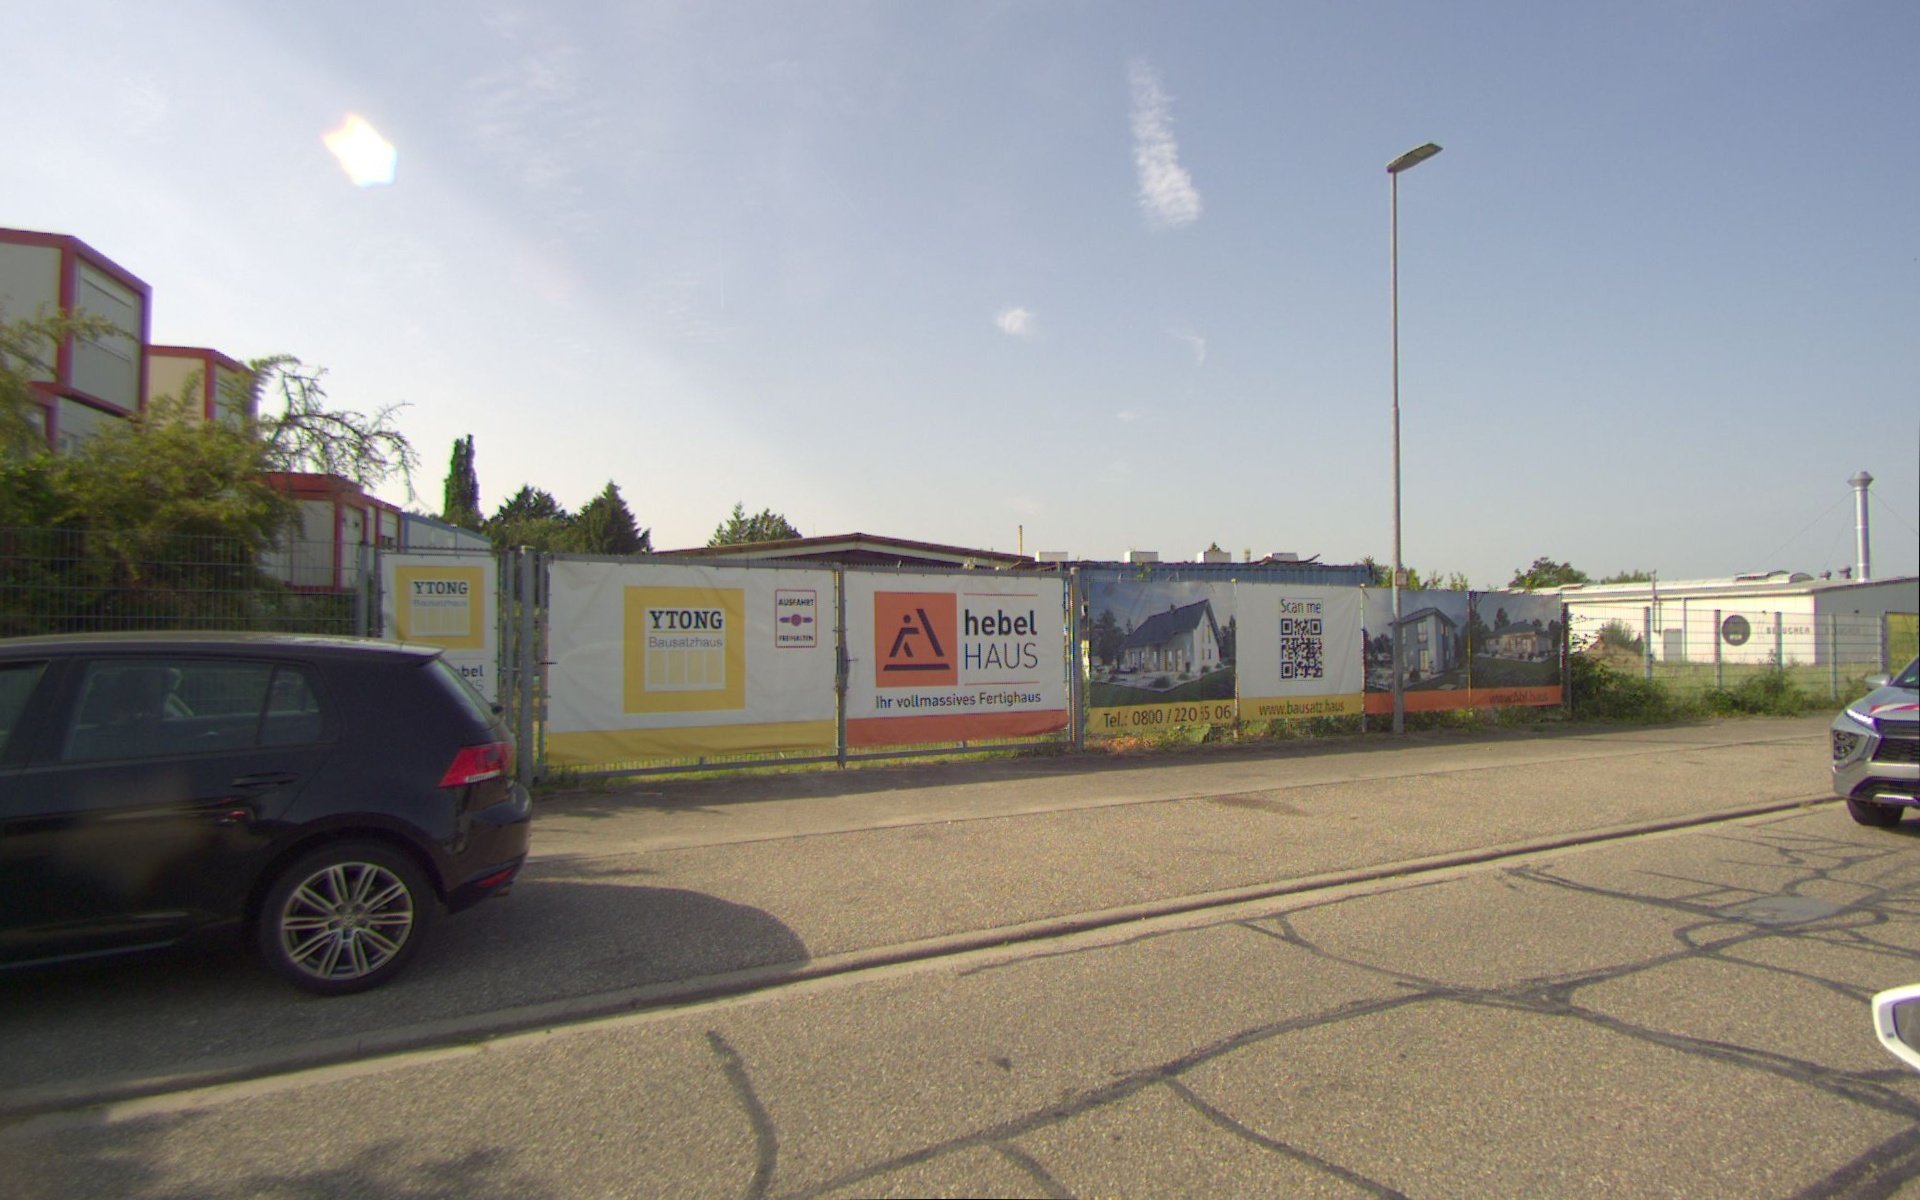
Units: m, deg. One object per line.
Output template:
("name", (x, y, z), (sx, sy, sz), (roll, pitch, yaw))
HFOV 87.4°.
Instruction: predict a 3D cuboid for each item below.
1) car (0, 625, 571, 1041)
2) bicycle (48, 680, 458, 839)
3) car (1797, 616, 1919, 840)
("car", (-3.924, 0.859, 4.303), (4.042, 1.489, 1.681), (1, -2, -28))
("bicycle", (-5.141, 1.127, 7.535), (2.424, 0.986, 0.559), (1, -3, -31))
("car", (8.976, 0.980, 8.329), (4.199, 1.648, 1.803), (1, -3, -30))
